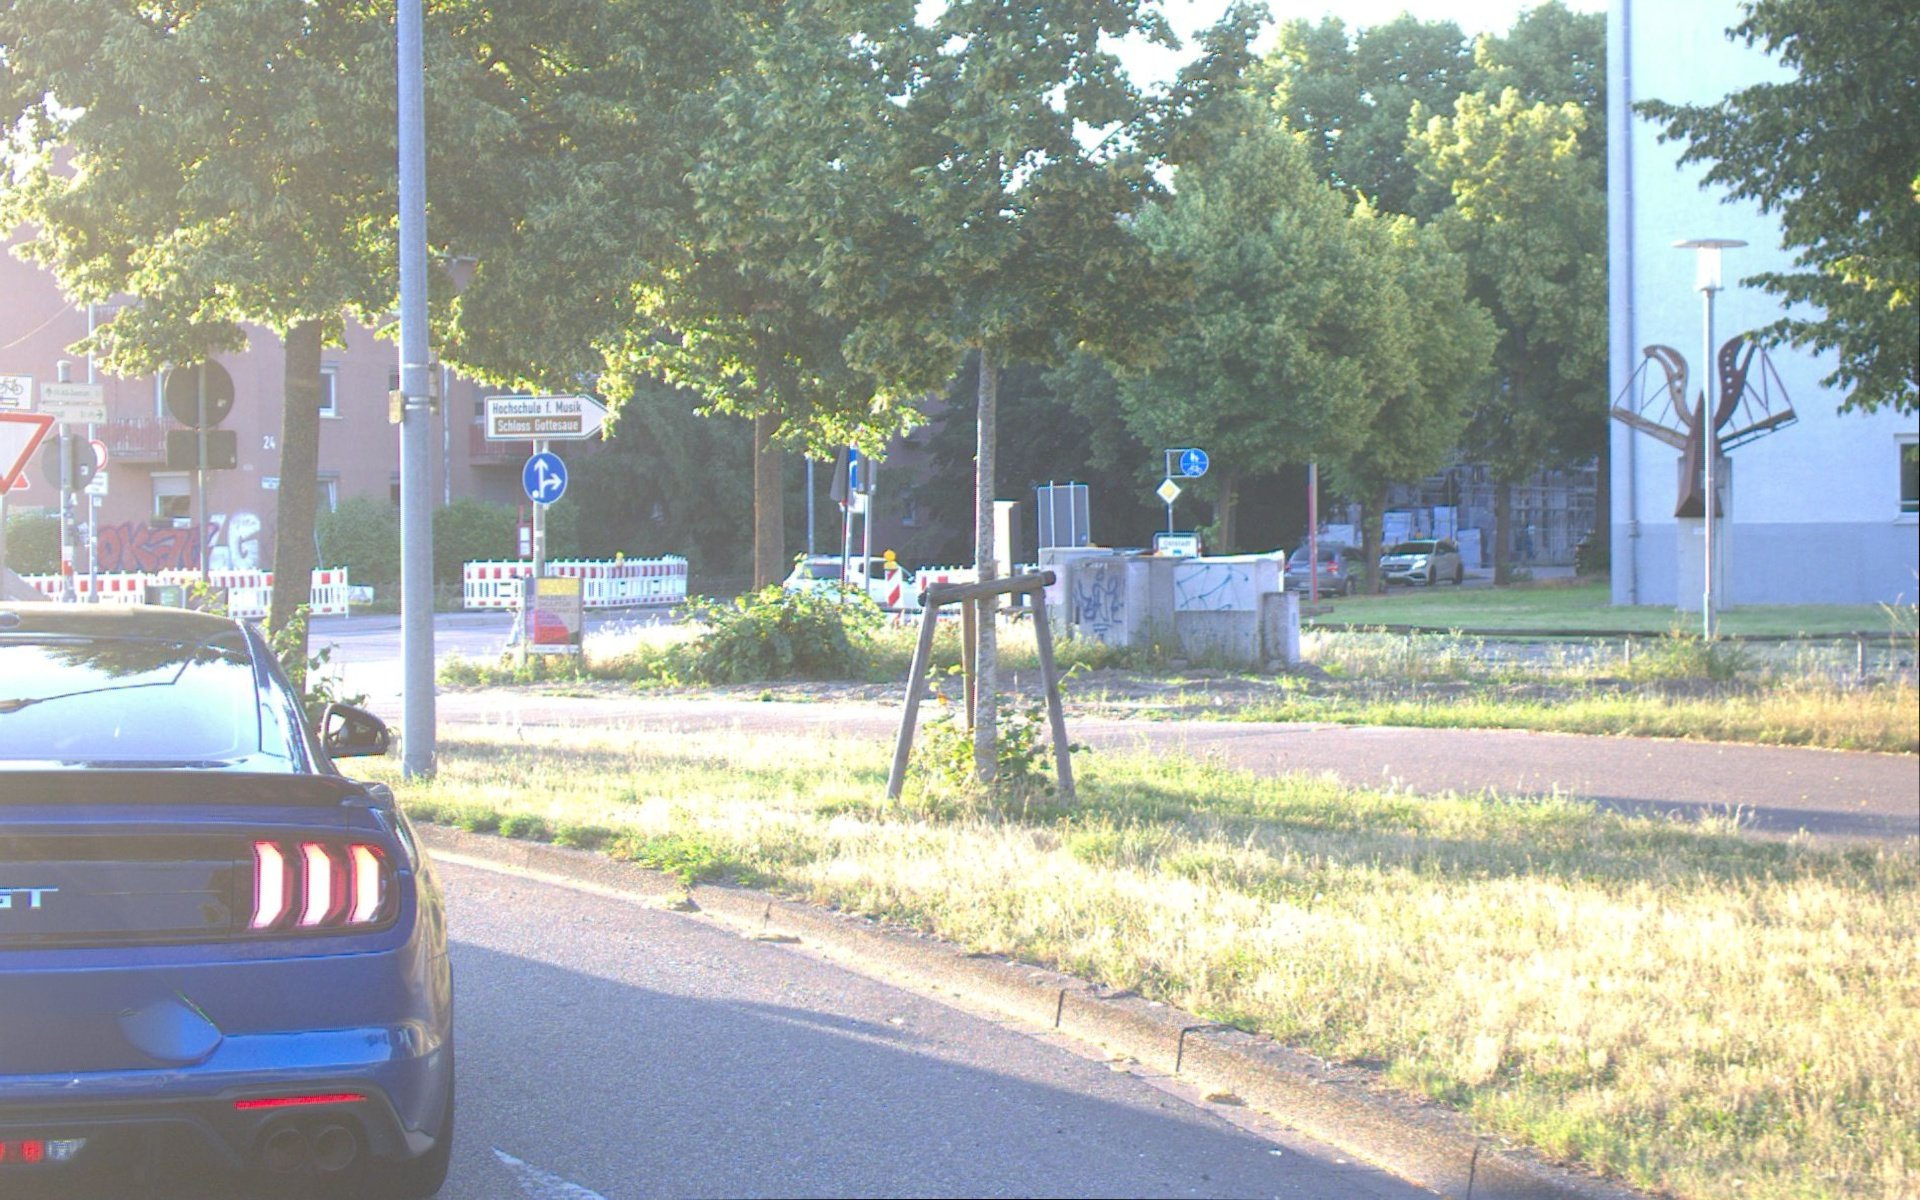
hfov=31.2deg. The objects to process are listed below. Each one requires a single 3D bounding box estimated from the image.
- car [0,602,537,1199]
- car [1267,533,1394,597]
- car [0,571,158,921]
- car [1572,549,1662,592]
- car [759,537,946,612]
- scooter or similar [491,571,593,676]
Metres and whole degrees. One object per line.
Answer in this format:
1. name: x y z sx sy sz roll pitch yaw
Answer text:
1. car: -2.542 0.700 8.709 1.951 1.337 4.672 0 1 -19
2. car: 9.642 -0.906 89.169 1.954 1.597 4.071 1 1 27
3. car: -5.240 0.576 15.769 1.951 1.422 4.430 1 0 -28
4. car: 21.927 -0.996 114.632 1.879 1.396 3.910 0 1 28
5. car: -2.042 -0.508 66.331 1.879 1.396 3.910 0 1 28
6. scooter or similar: -4.982 0.272 40.961 1.120 1.234 0.442 0 1 -25
